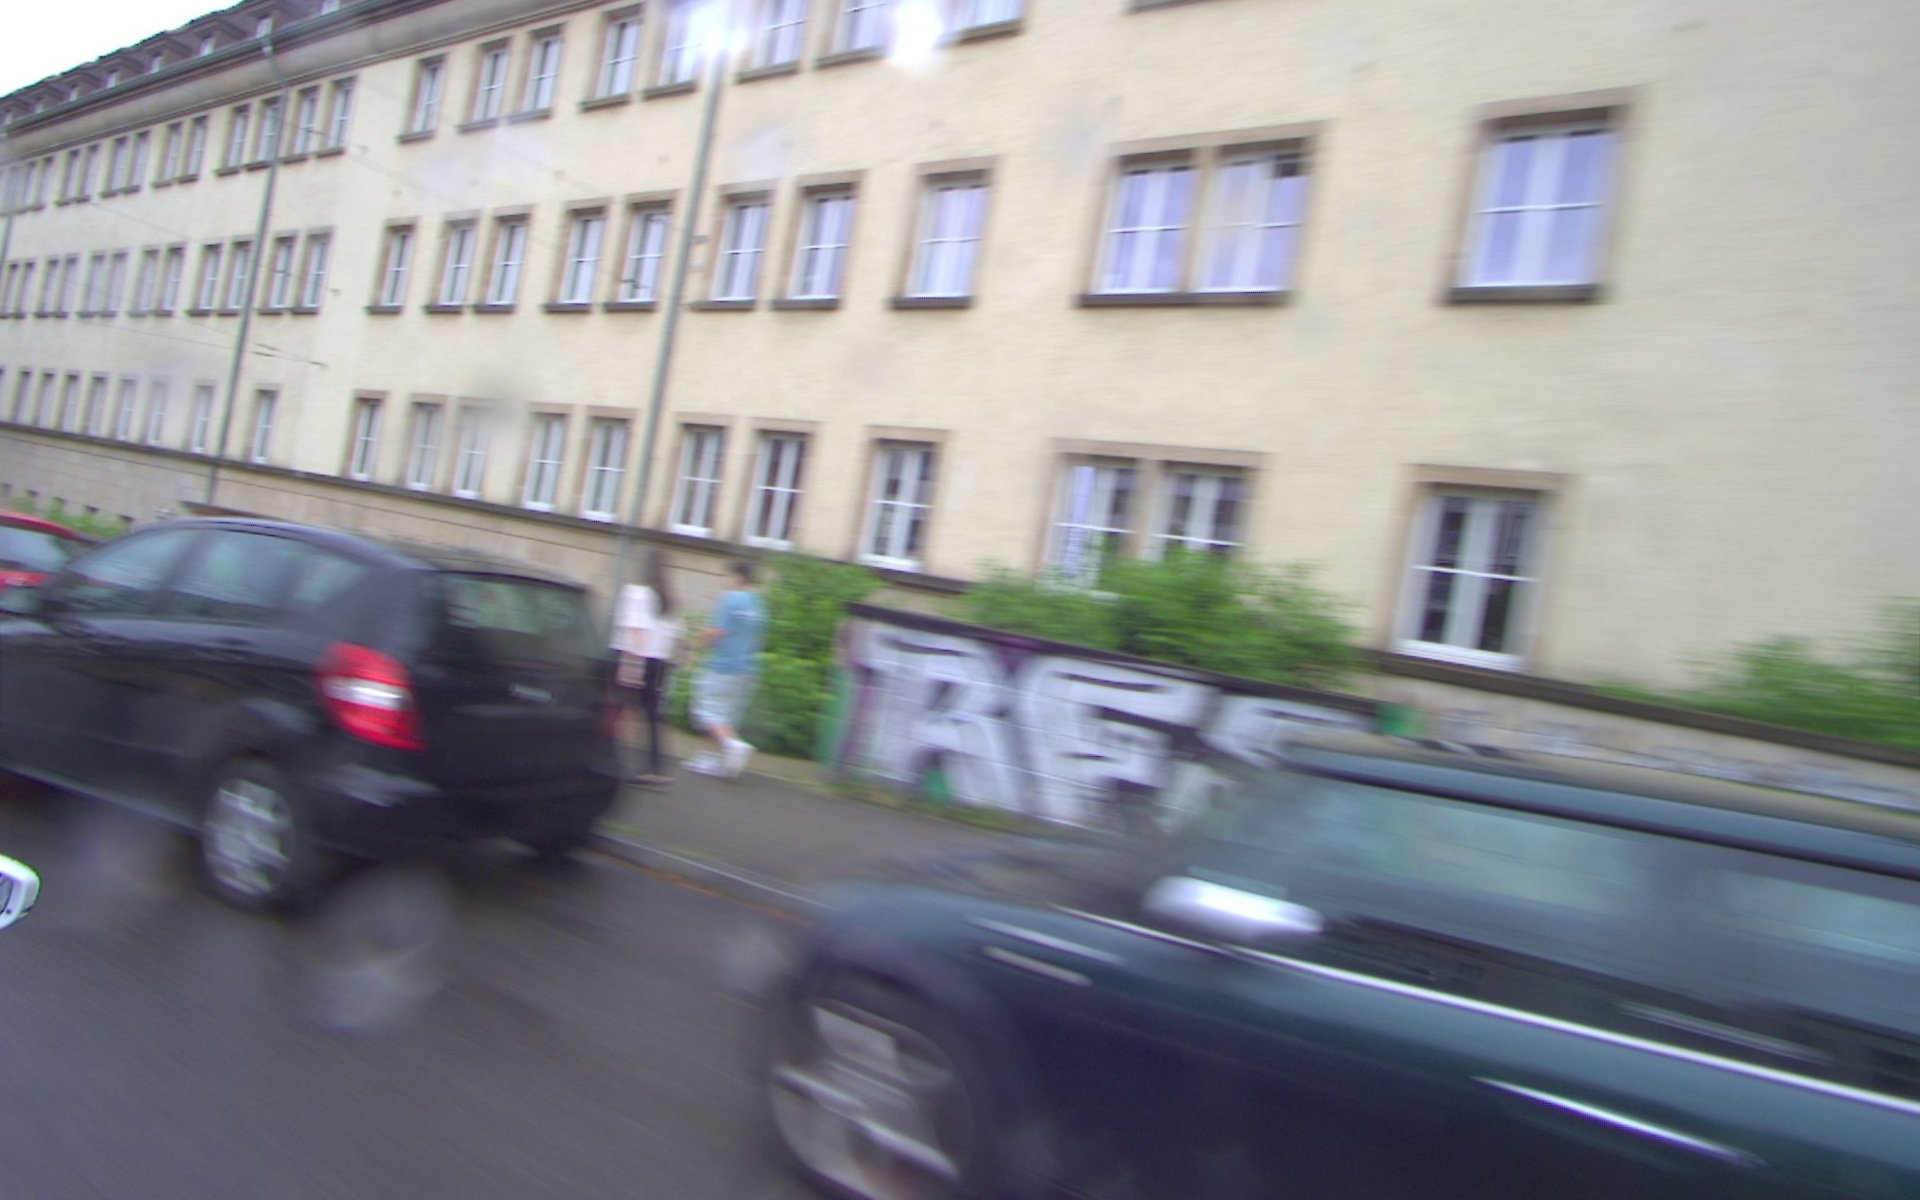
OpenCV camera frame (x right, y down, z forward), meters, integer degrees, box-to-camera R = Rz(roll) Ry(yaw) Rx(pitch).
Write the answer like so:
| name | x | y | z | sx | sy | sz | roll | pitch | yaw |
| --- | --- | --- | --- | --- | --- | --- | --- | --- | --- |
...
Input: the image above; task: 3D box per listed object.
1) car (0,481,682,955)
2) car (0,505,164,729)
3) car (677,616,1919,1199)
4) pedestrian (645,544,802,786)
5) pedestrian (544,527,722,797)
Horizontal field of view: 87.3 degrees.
| name | x | y | z | sx | sy | sz | roll | pitch | yaw |
| --- | --- | --- | --- | --- | --- | --- | --- | --- | --- |
| car | -3.588 | 0.376 | 5.256 | 3.786 | 1.592 | 1.671 | 7 | -1 | 25 |
| car | -8.245 | -0.103 | 7.517 | 3.991 | 1.493 | 1.672 | 7 | -2 | 21 |
| car | 1.198 | 1.008 | 2.592 | 3.582 | 1.433 | 1.539 | 7 | -1 | 31 |
| pedestrian | -1.876 | 0.509 | 8.016 | 0.727 | 1.775 | 0.718 | 7 | -1 | 34 |
| pedestrian | -2.333 | 0.431 | 7.204 | 0.727 | 1.775 | 0.718 | 7 | -1 | 34 |
